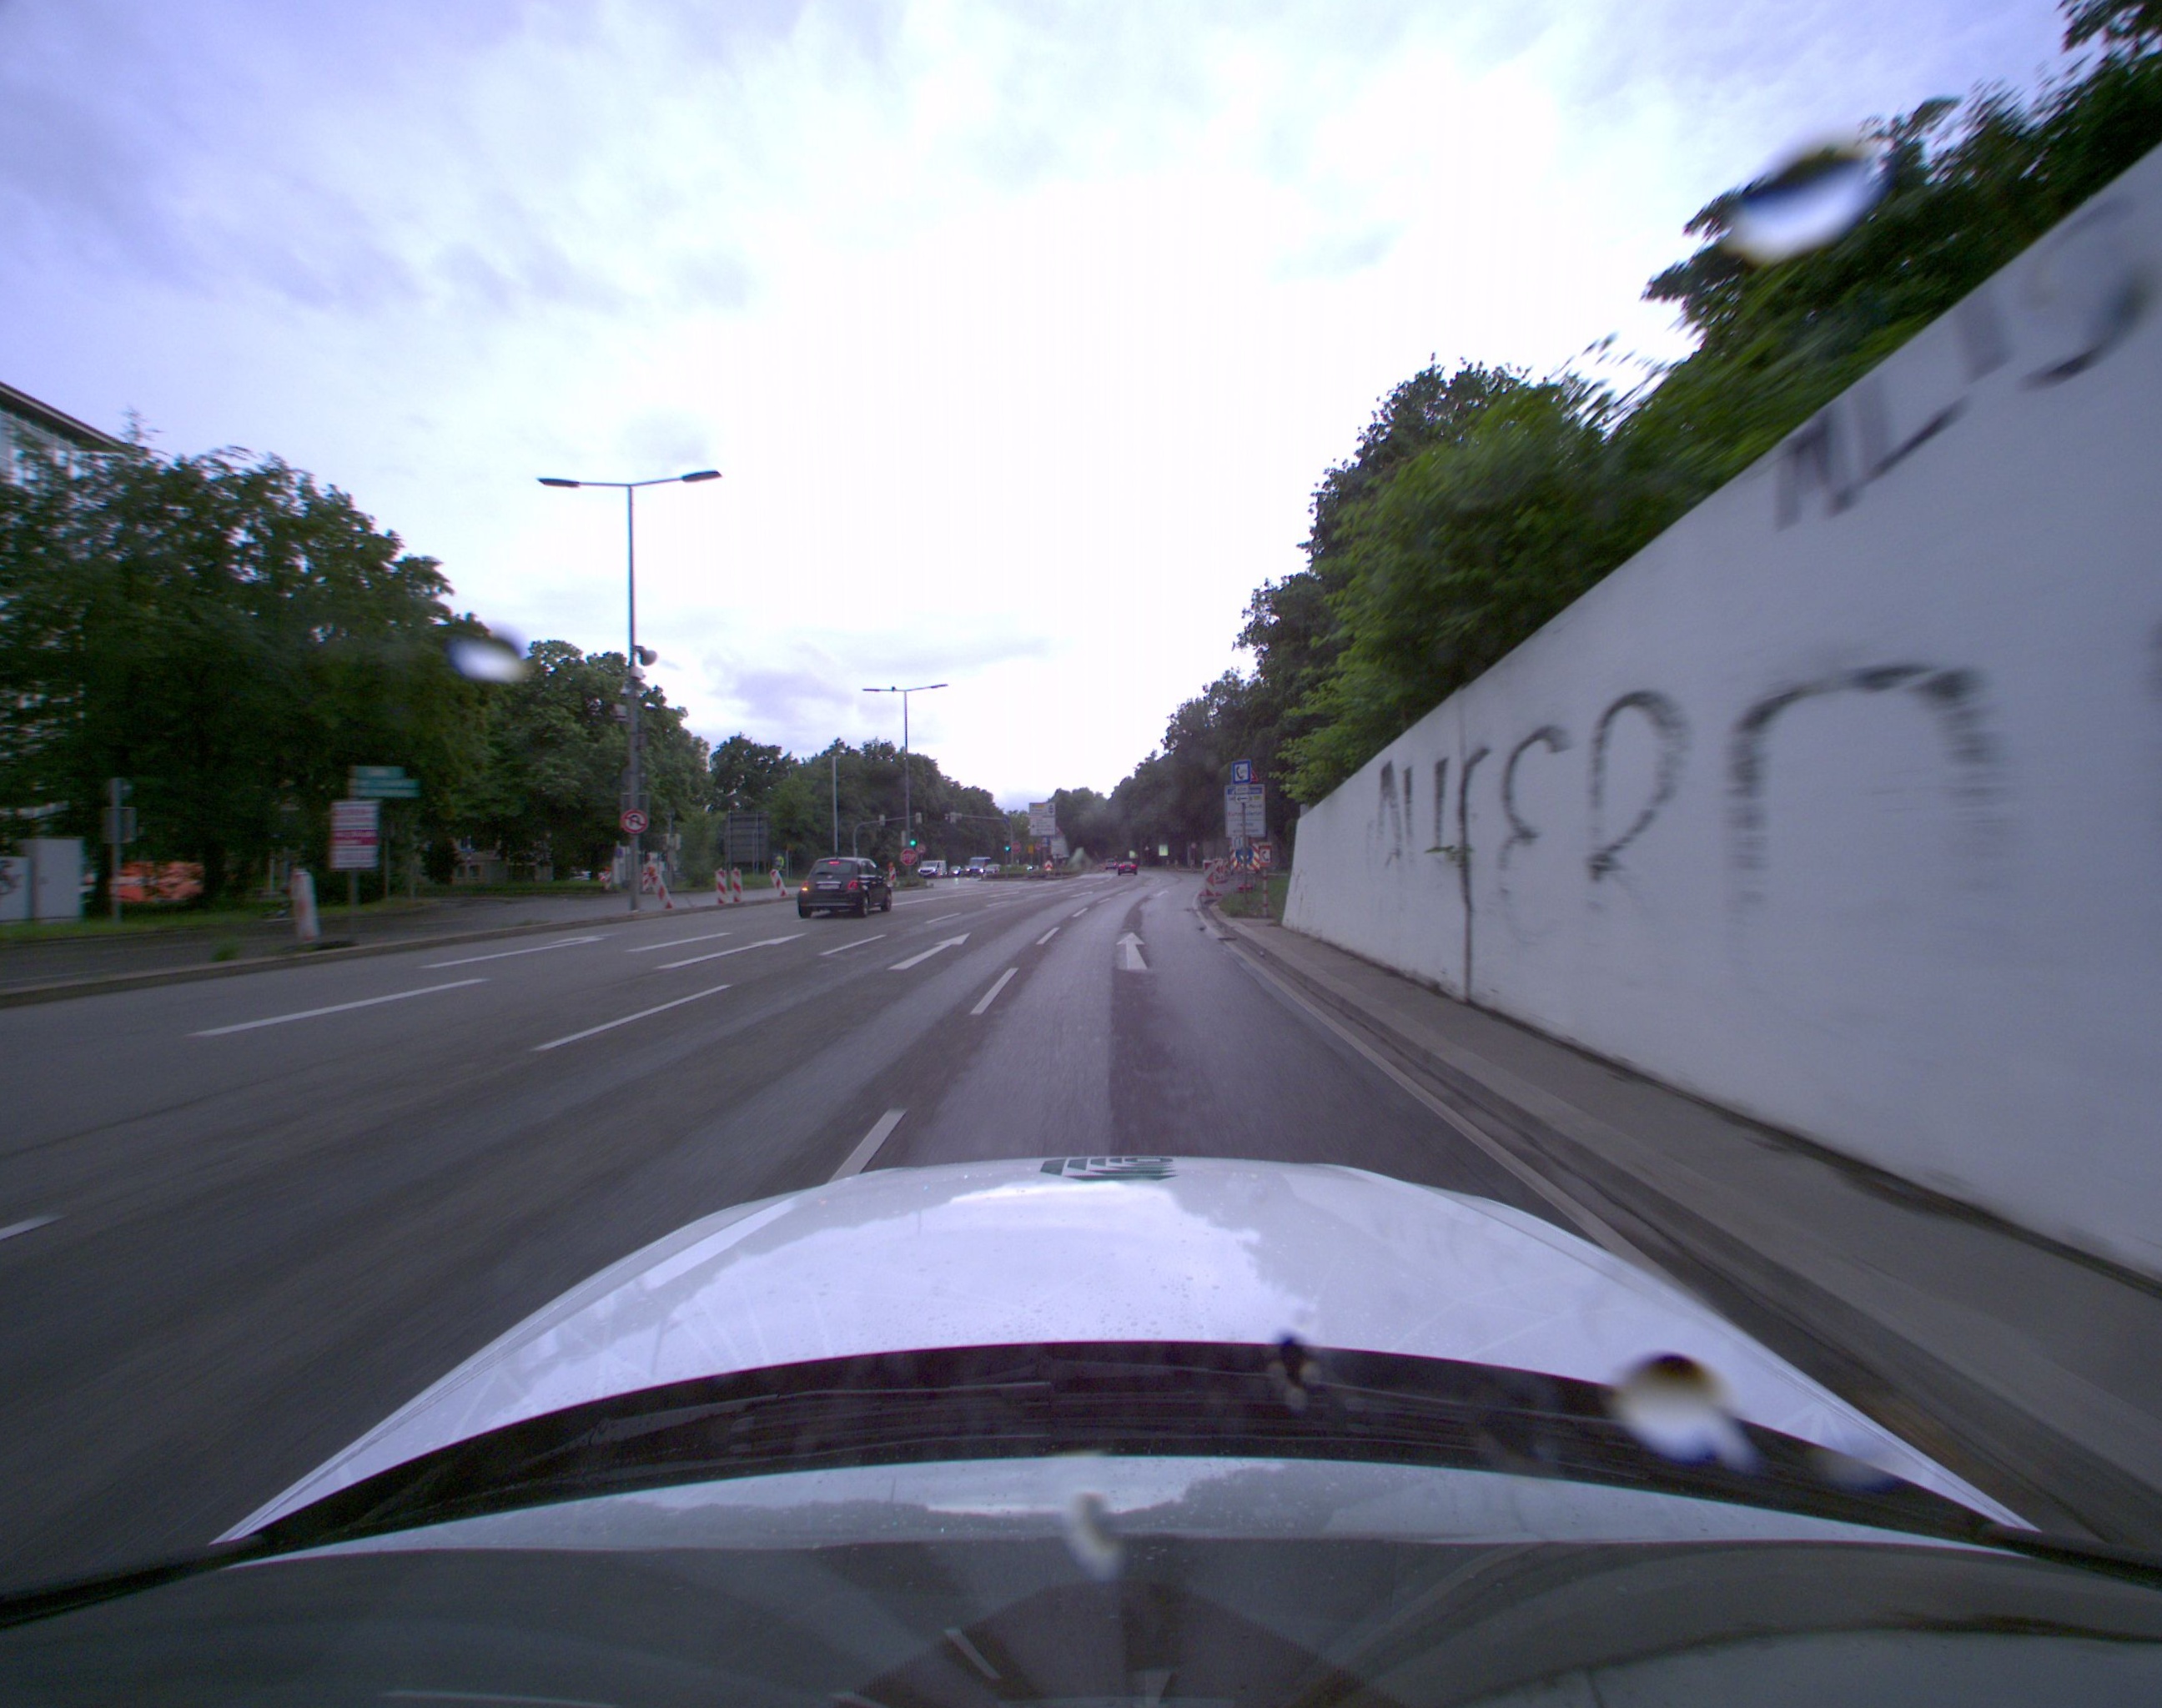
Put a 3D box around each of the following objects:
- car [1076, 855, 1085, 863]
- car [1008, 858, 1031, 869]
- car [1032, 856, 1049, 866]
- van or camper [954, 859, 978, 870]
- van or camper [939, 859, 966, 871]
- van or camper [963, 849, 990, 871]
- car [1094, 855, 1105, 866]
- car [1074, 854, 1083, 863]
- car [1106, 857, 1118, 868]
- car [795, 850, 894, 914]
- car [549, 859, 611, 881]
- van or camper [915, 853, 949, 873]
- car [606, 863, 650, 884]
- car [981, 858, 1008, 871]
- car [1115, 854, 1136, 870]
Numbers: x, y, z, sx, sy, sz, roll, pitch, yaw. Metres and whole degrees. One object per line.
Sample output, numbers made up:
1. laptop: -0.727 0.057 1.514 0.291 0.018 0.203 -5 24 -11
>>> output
1. car: -0.070 1.287 201.273 1.988 2.013 3.997 -1 0 -2
2. car: -7.282 1.125 97.356 1.999 1.301 4.323 -1 0 6
3. car: -5.862 1.035 118.955 2.001 1.301 4.318 -1 0 3
4. van or camper: -14.823 1.331 105.116 1.999 1.301 4.098 -1 0 6
5. van or camper: -15.025 1.286 95.410 1.999 1.301 4.098 -1 0 6
6. van or camper: -12.101 0.693 94.471 2.118 2.348 4.434 -1 0 6
7. car: 3.460 1.226 154.094 1.988 2.013 3.997 -1 0 -2
8. car: -0.518 1.104 187.335 1.988 2.013 3.997 -1 0 -2
9. car: 5.781 1.641 154.404 1.988 2.013 3.997 -1 0 -2
10. car: -6.007 0.648 21.029 1.608 1.454 3.570 0 1 -2
11. car: -42.906 1.340 69.837 3.979 1.683 1.895 -2 1 -4
12. van or camper: -15.793 0.902 86.479 2.118 2.014 5.323 -1 0 6
13. car: -42.858 1.805 77.152 1.886 1.683 3.999 -2 1 -1
14. car: -9.071 1.107 85.822 1.999 1.301 4.323 -1 0 6
15. car: 4.385 0.766 79.376 1.985 1.448 4.318 -1 0 4
